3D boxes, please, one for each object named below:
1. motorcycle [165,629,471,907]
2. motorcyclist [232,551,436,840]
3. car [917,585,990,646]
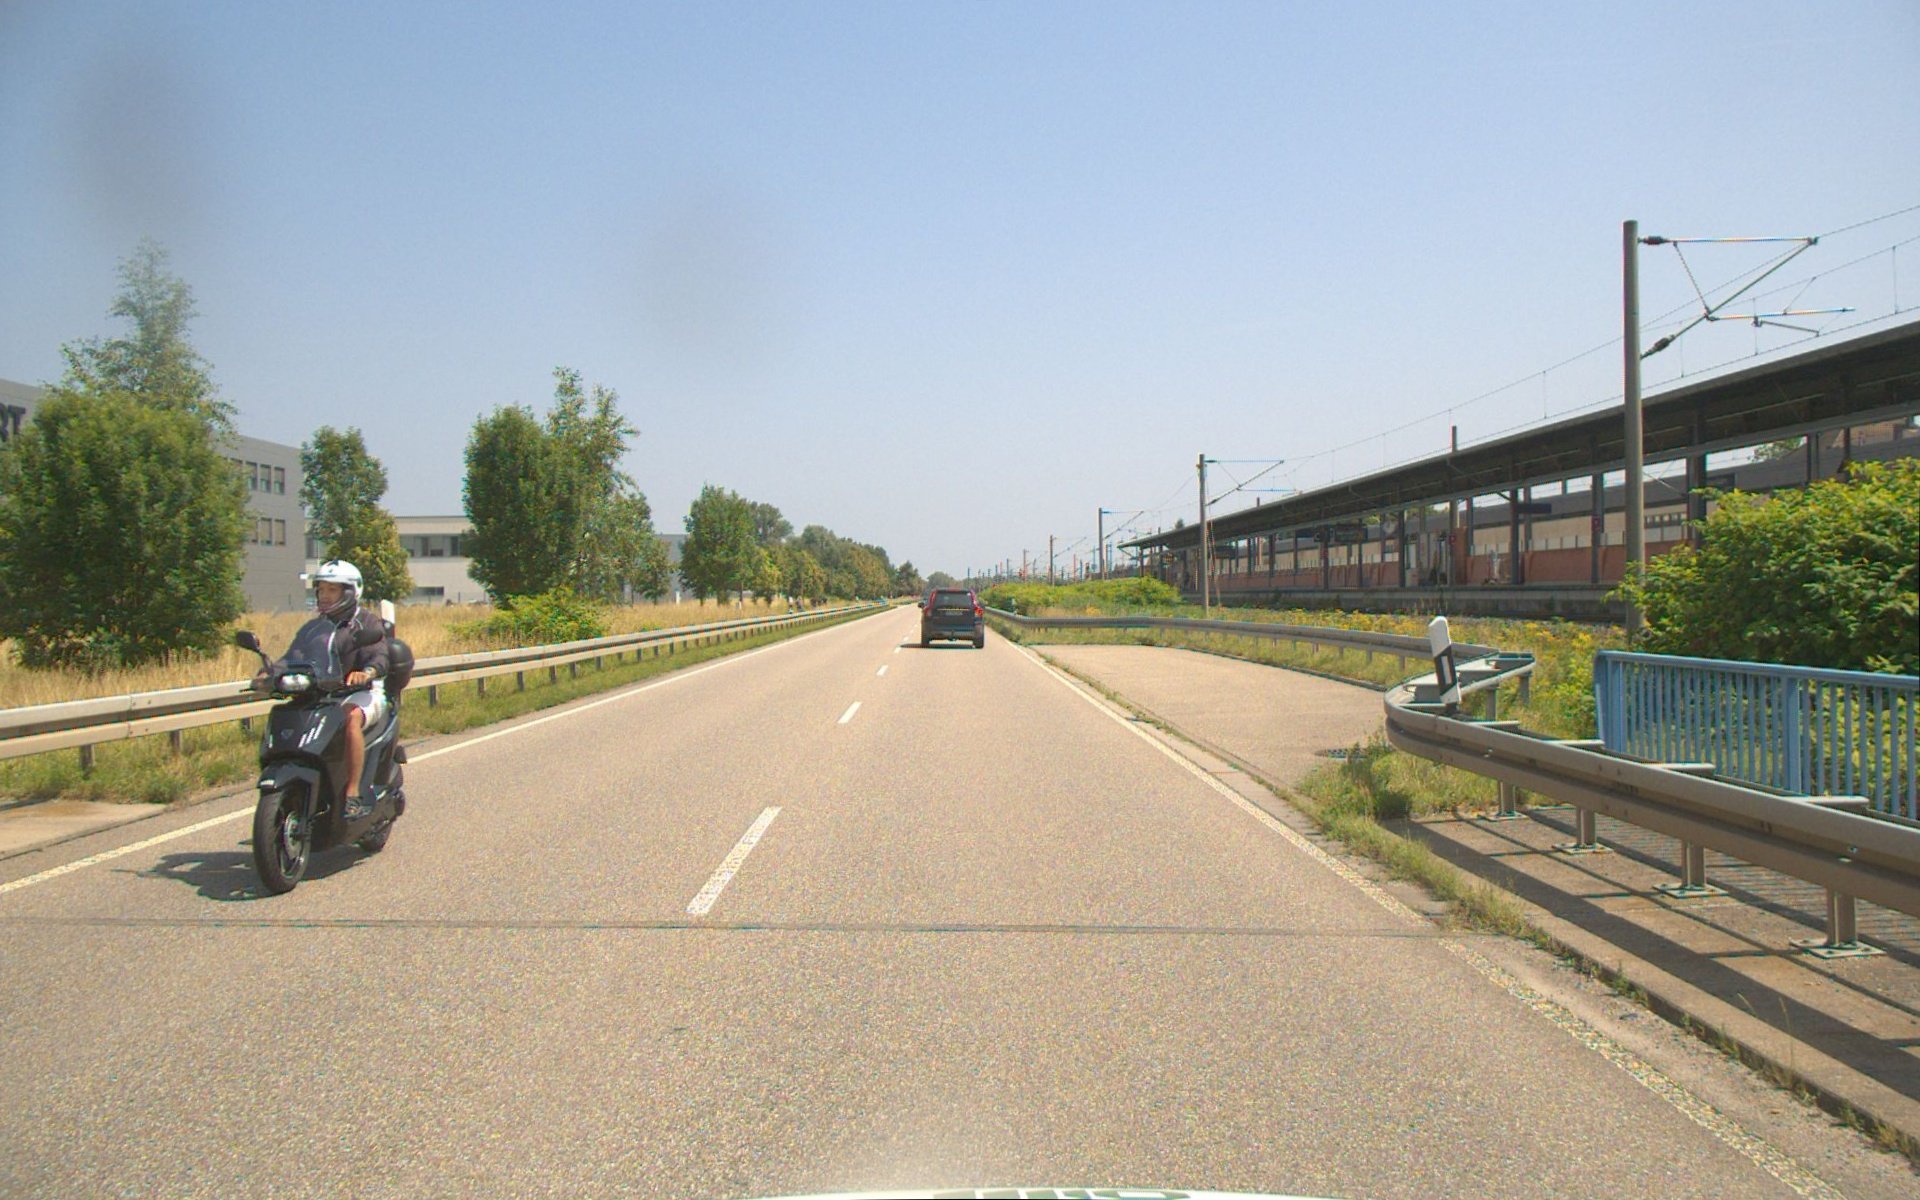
[{"bbox_3d":[-3.397,0.818,9.032,0.674,1.256,2.370,1,0,2],"label":"motorcycle"},{"bbox_3d":[-3.392,0.488,9.043,0.711,1.490,0.987,0,0,2],"label":"motorcyclist"},{"bbox_3d":[-0.237,0.424,49.181,1.954,1.730,3.998,0,0,-3],"label":"car"}]
